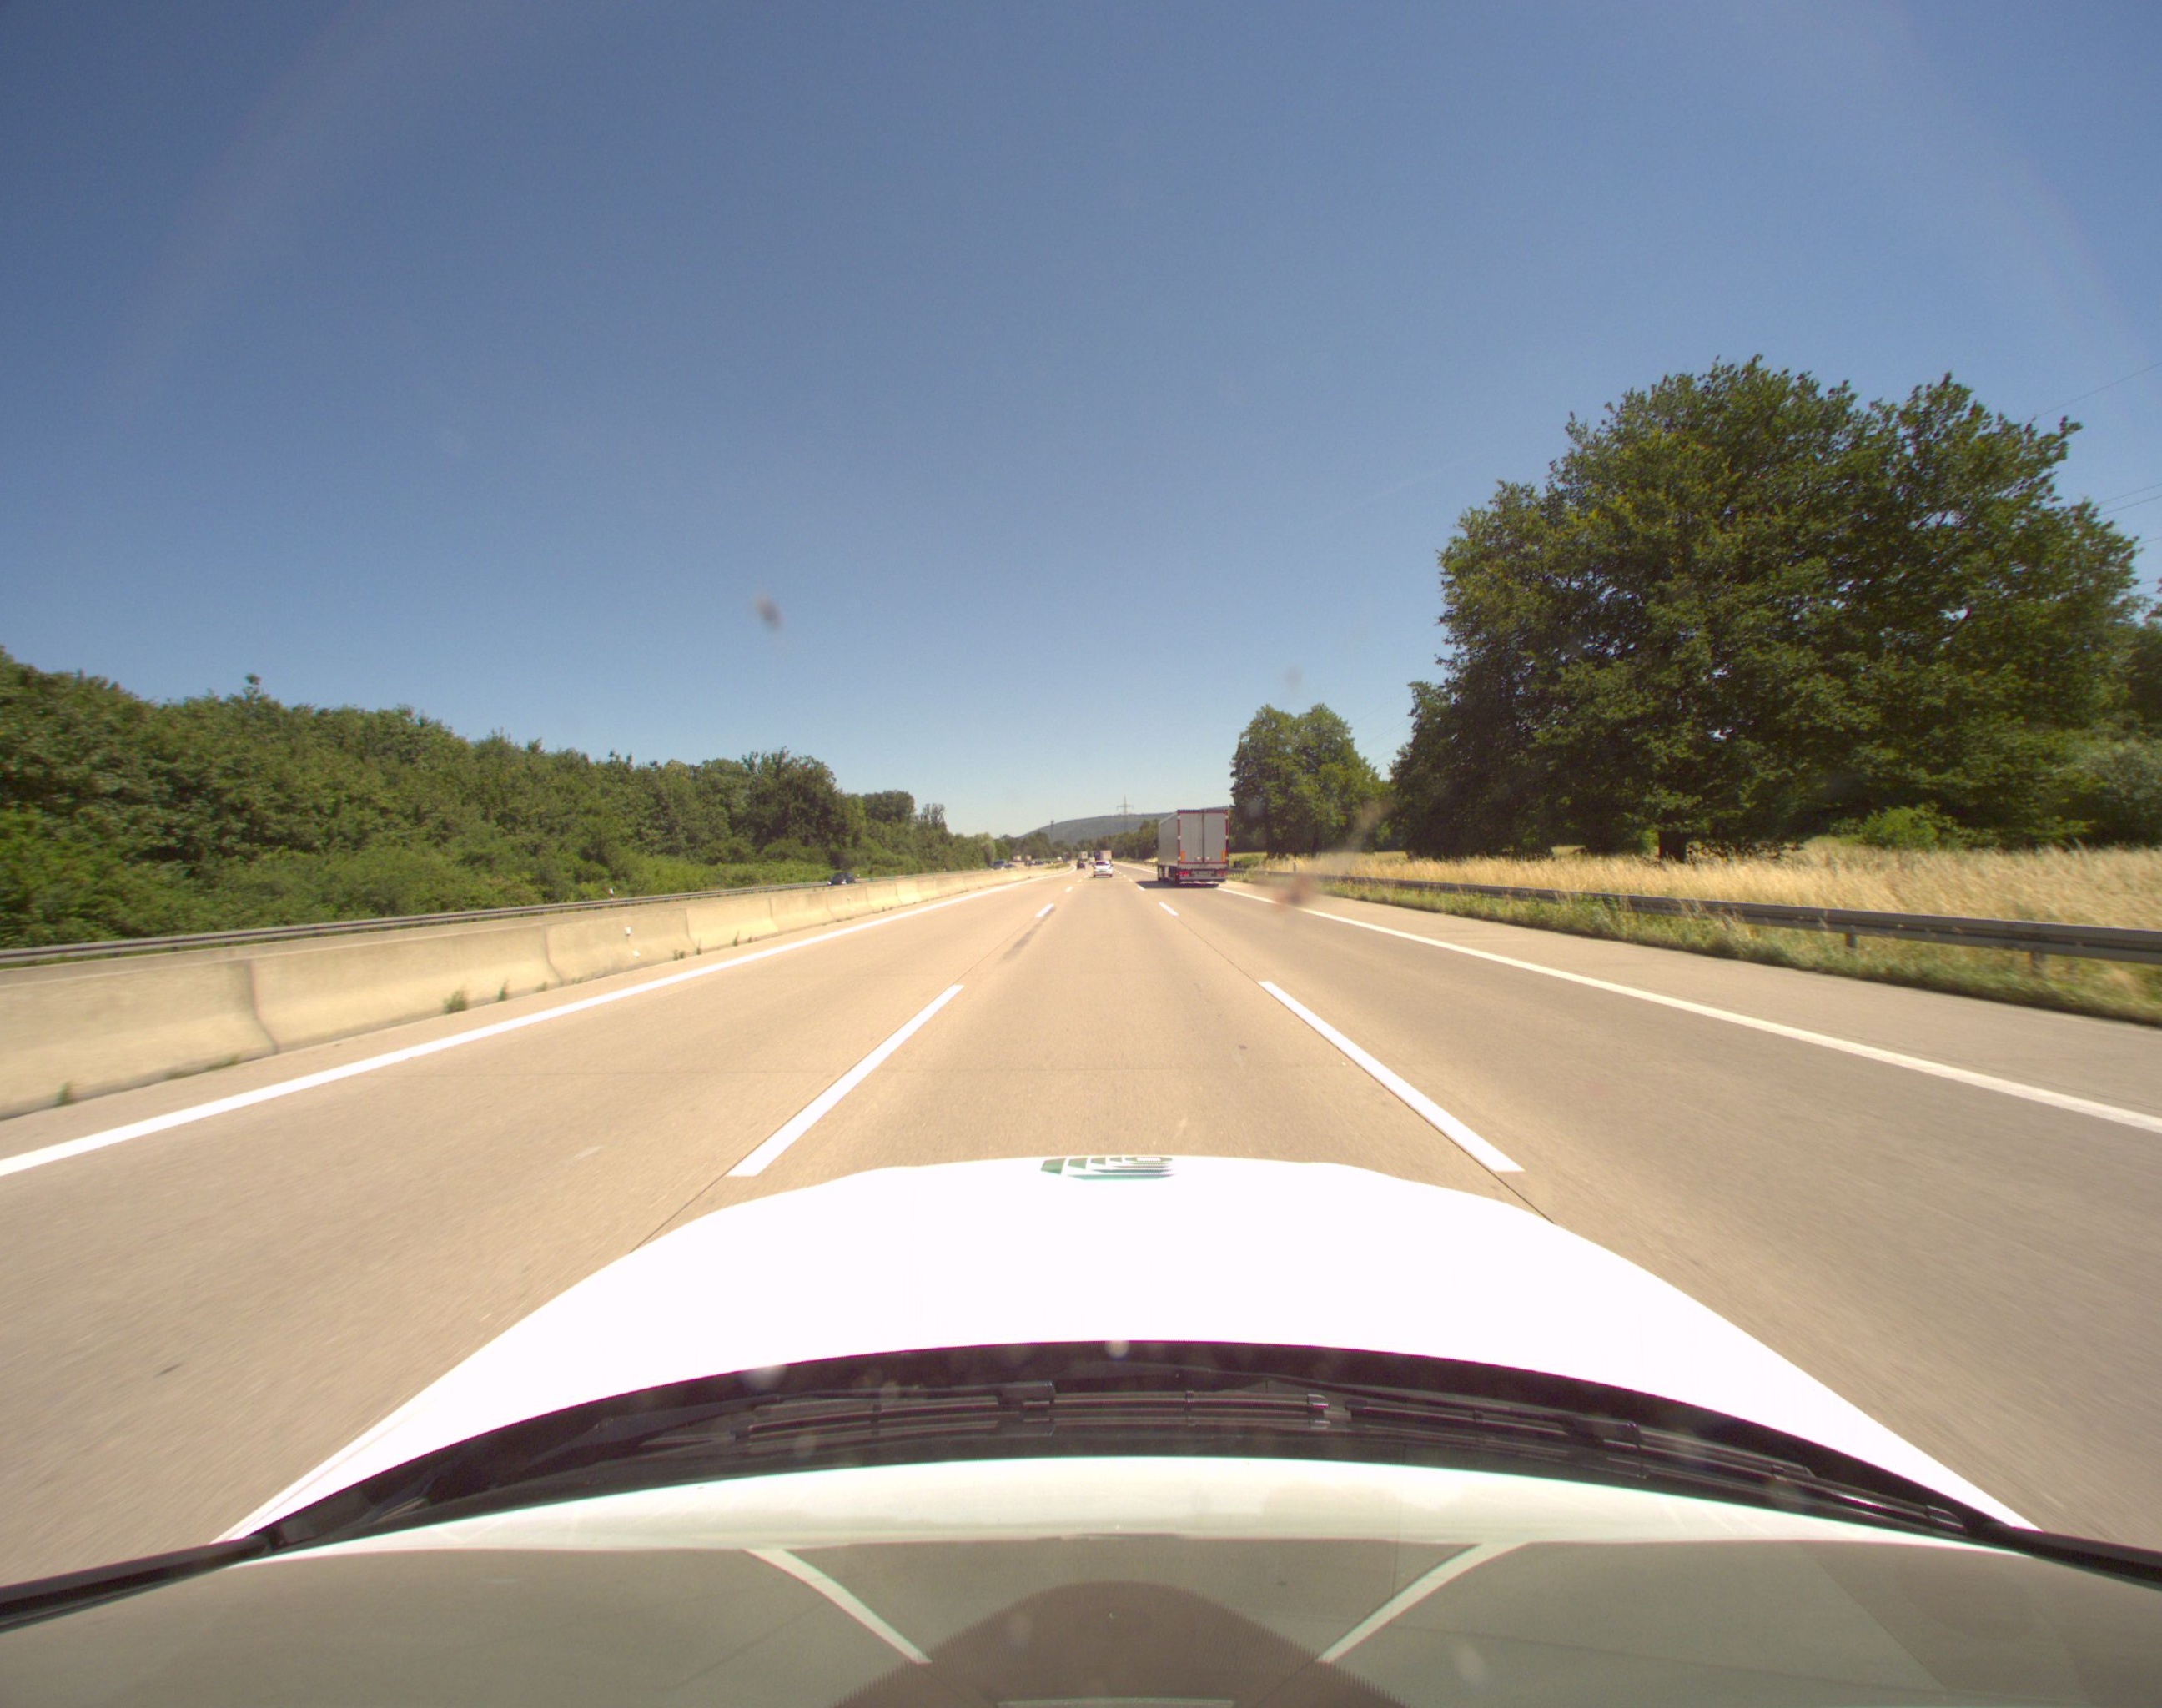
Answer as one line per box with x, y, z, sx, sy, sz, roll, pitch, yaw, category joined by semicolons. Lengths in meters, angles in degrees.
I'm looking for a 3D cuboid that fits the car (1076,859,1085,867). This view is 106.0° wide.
-0.142;1.904;178.330;2.016;1.700;3.998;0;0;-1;car

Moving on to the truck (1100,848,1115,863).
8.047;0.456;248.822;3.810;3.889;14.145;-5;0;-1;truck

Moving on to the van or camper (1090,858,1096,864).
3.701;2.131;252.754;1.861;1.837;4.000;-5;0;0;van or camper

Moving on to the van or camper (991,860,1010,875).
-10.304;1.728;104.724;1.841;1.882;4.417;-2;-1;1;van or camper

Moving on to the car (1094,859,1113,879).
1.959;1.281;71.900;1.635;1.662;3.361;0;0;1;car

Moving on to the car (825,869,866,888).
-18.832;1.948;65.158;1.920;1.376;4.002;-2;0;2;car

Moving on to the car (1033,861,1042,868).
-9.938;2.321;185.288;1.554;1.418;3.524;-2;0;2;car

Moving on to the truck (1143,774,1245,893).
6.278;-1.051;49.455;3.565;5.787;18.245;-2;0;0;truck
